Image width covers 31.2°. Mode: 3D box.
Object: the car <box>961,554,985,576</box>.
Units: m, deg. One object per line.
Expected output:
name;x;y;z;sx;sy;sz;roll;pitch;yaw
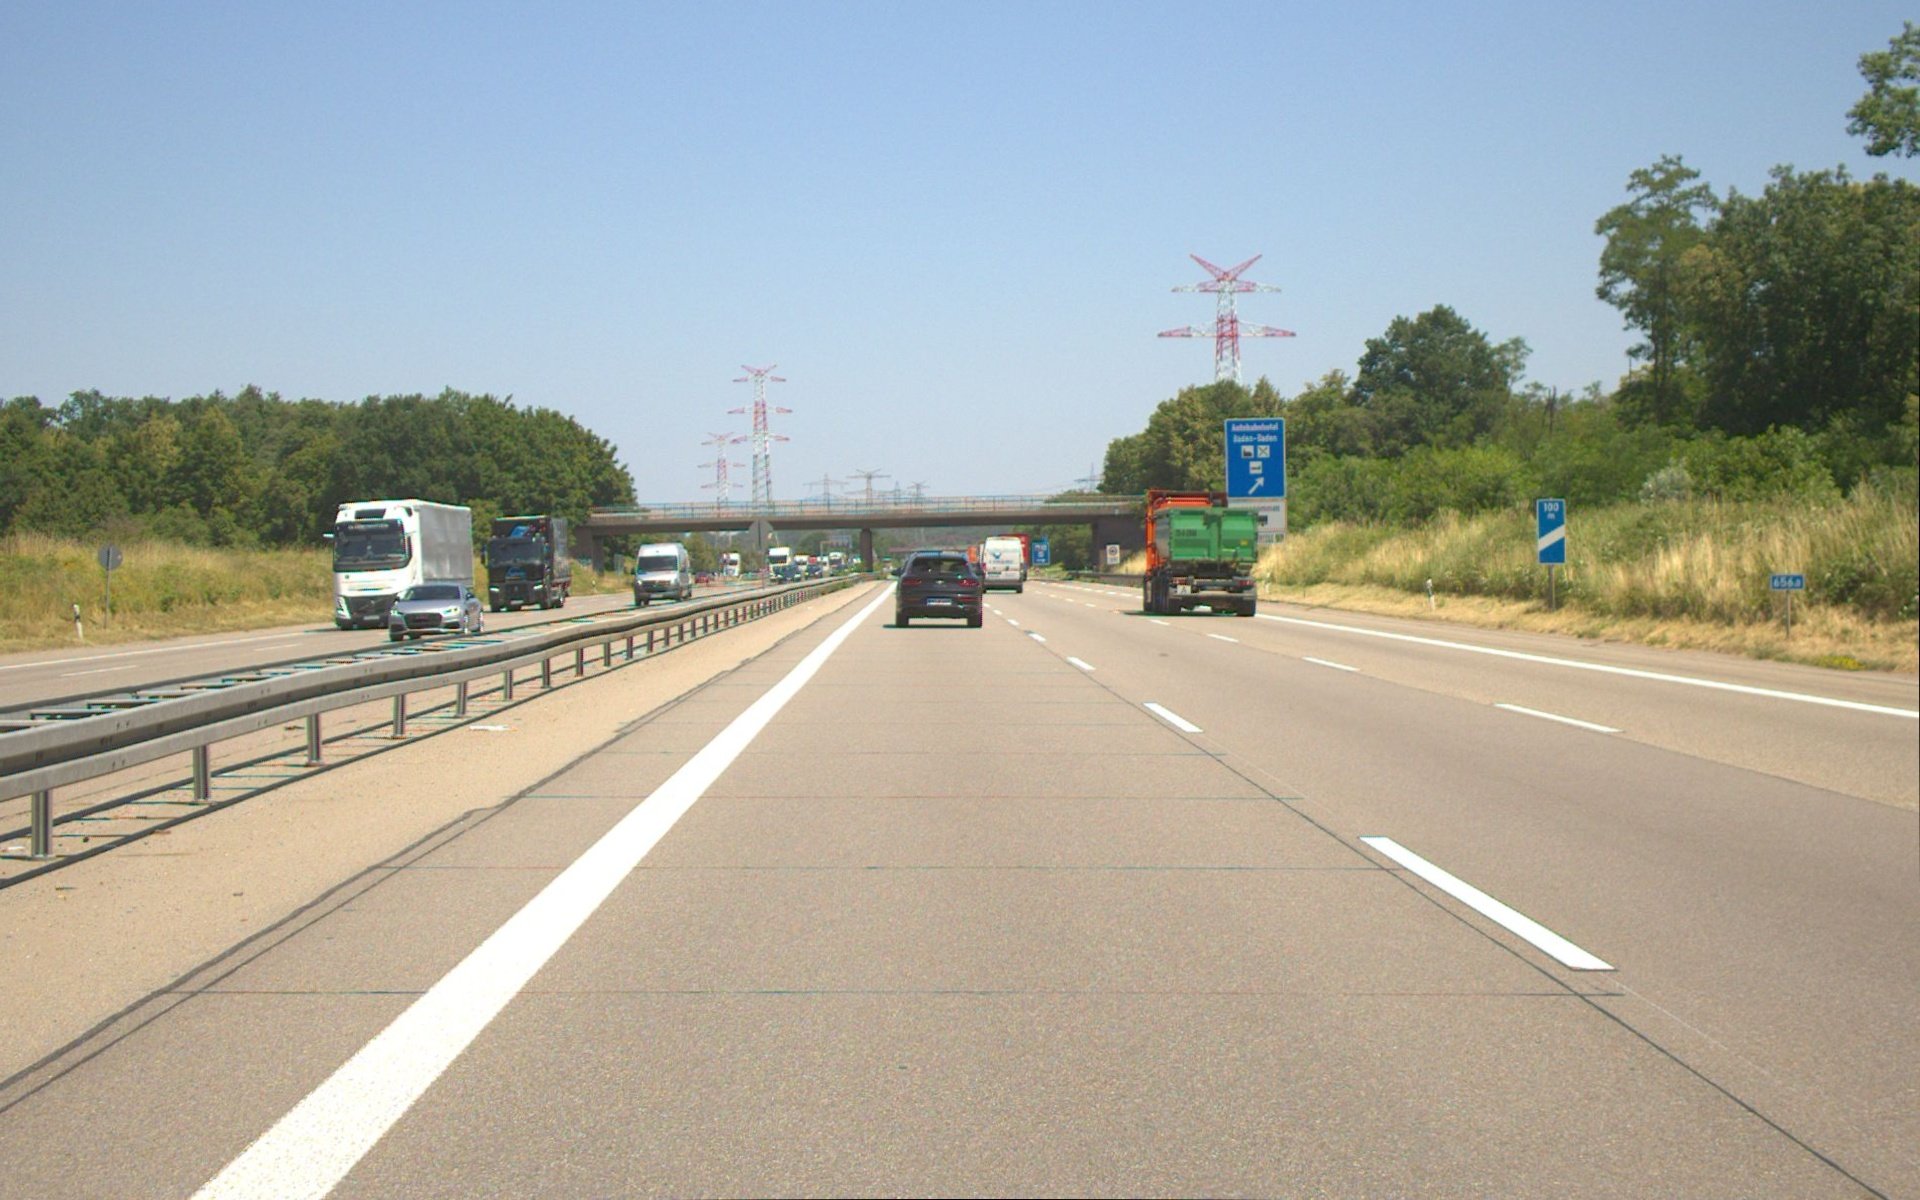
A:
car;0.986;-2.643;258.629;1.747;1.628;4.004;1;1;0

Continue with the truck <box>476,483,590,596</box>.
truck;-18.775;-2.644;151.901;3.377;4.609;12.187;-3;1;0

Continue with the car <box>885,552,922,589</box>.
car;-2.786;-1.467;169.302;1.794;1.744;4.000;1;1;-1

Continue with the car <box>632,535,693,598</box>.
car;-12.744;-1.456;147.401;1.993;2.561;6.390;-3;1;0

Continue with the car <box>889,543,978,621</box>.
car;-0.638;-0.438;79.910;1.993;1.744;4.000;1;1;-1

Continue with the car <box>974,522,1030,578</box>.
car;2.085;-2.500;172.184;2.621;2.750;6.096;1;1;0

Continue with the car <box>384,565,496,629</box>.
car;-12.608;-0.097;83.622;1.962;1.424;5.291;-2;1;-1

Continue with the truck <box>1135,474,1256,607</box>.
truck;7.052;-1.782;104.556;2.681;3.785;12.479;1;1;-1

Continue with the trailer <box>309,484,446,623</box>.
trailer;-18.599;-1.496;110.198;3.155;4.184;6.326;-3;1;-1
